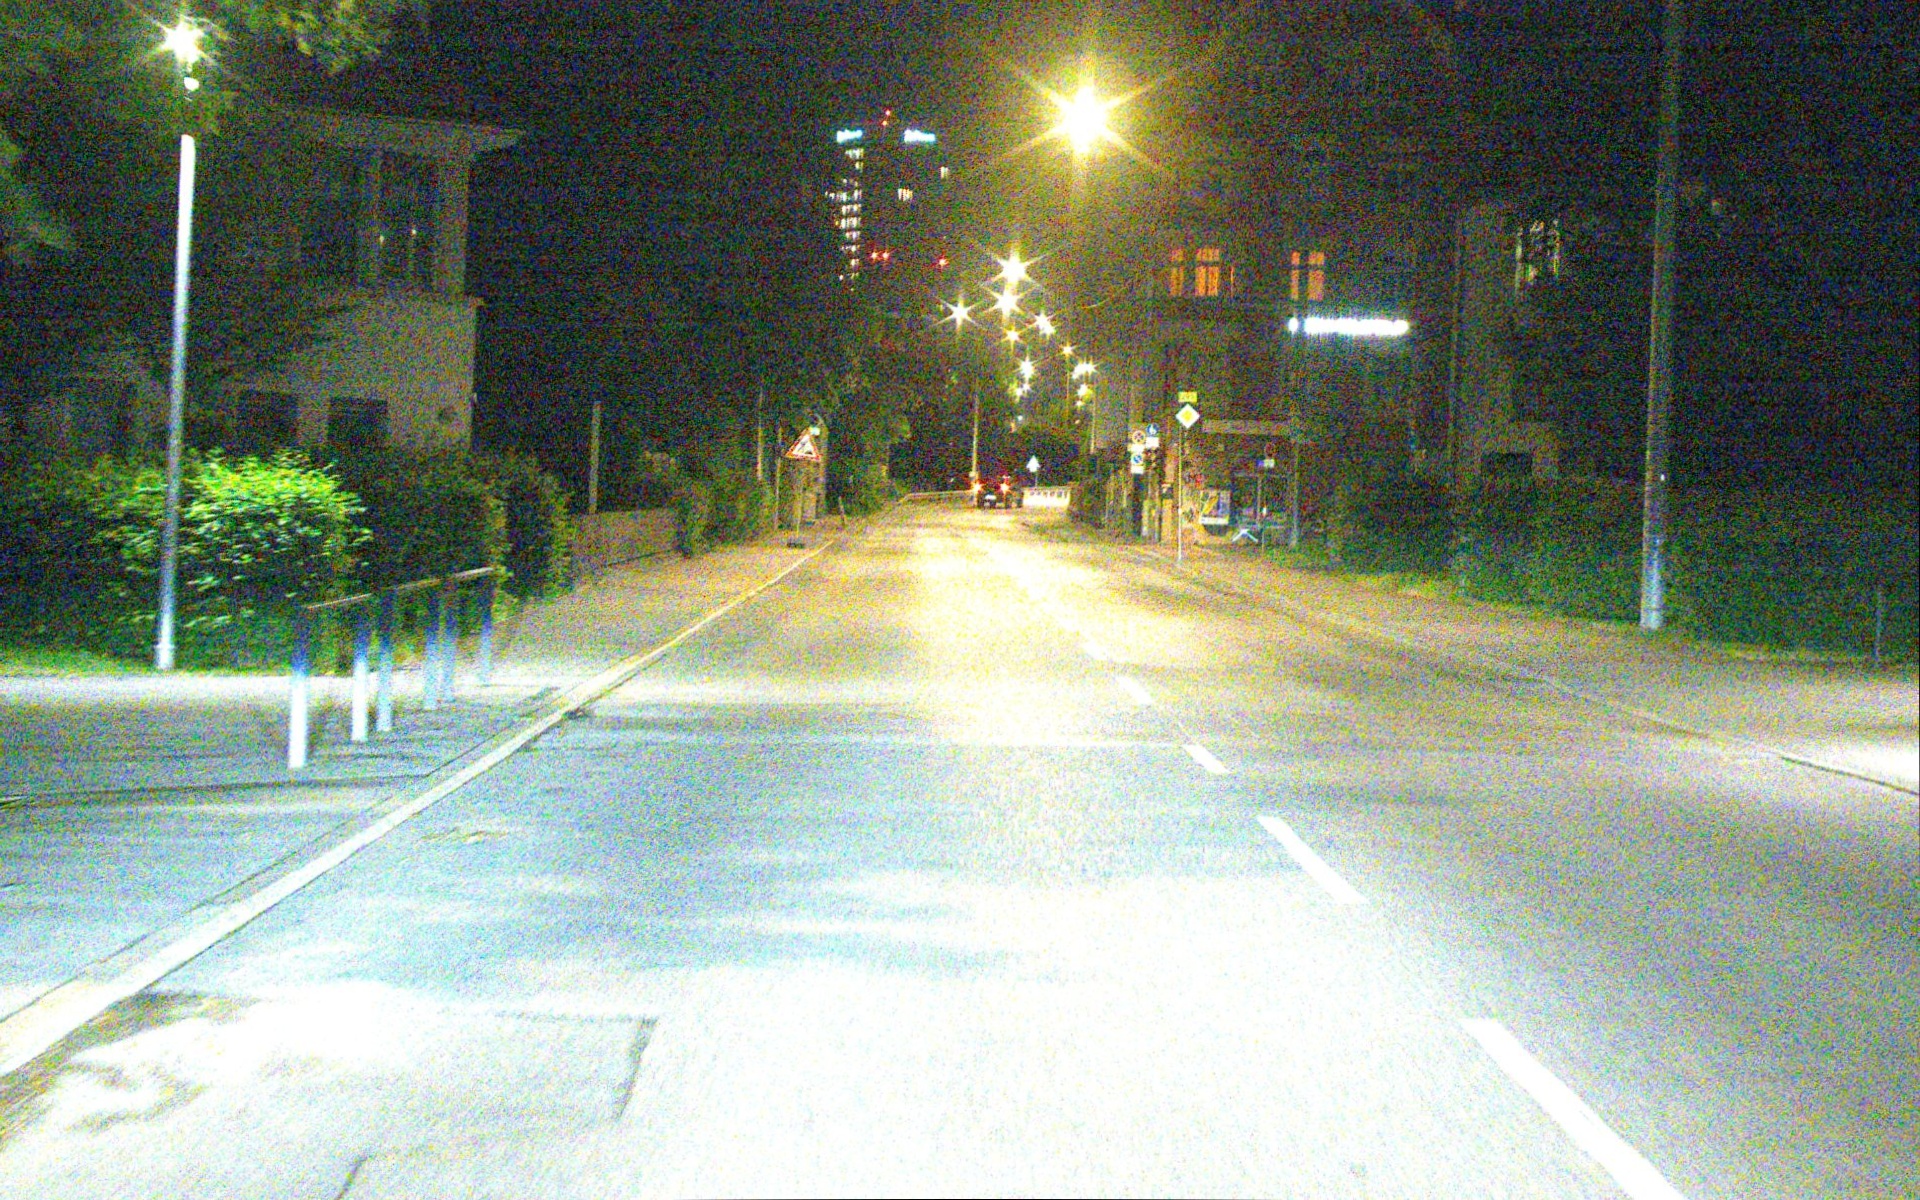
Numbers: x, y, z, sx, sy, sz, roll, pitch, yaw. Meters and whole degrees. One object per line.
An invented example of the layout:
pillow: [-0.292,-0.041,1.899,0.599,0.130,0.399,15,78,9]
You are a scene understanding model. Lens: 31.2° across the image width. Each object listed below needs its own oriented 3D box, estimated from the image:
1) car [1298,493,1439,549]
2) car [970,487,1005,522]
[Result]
car: [12.016,-2.322,101.300,3.837,1.539,1.809,1,2,-3]
car: [1.541,-5.455,197.060,1.924,1.848,4.000,1,0,0]
